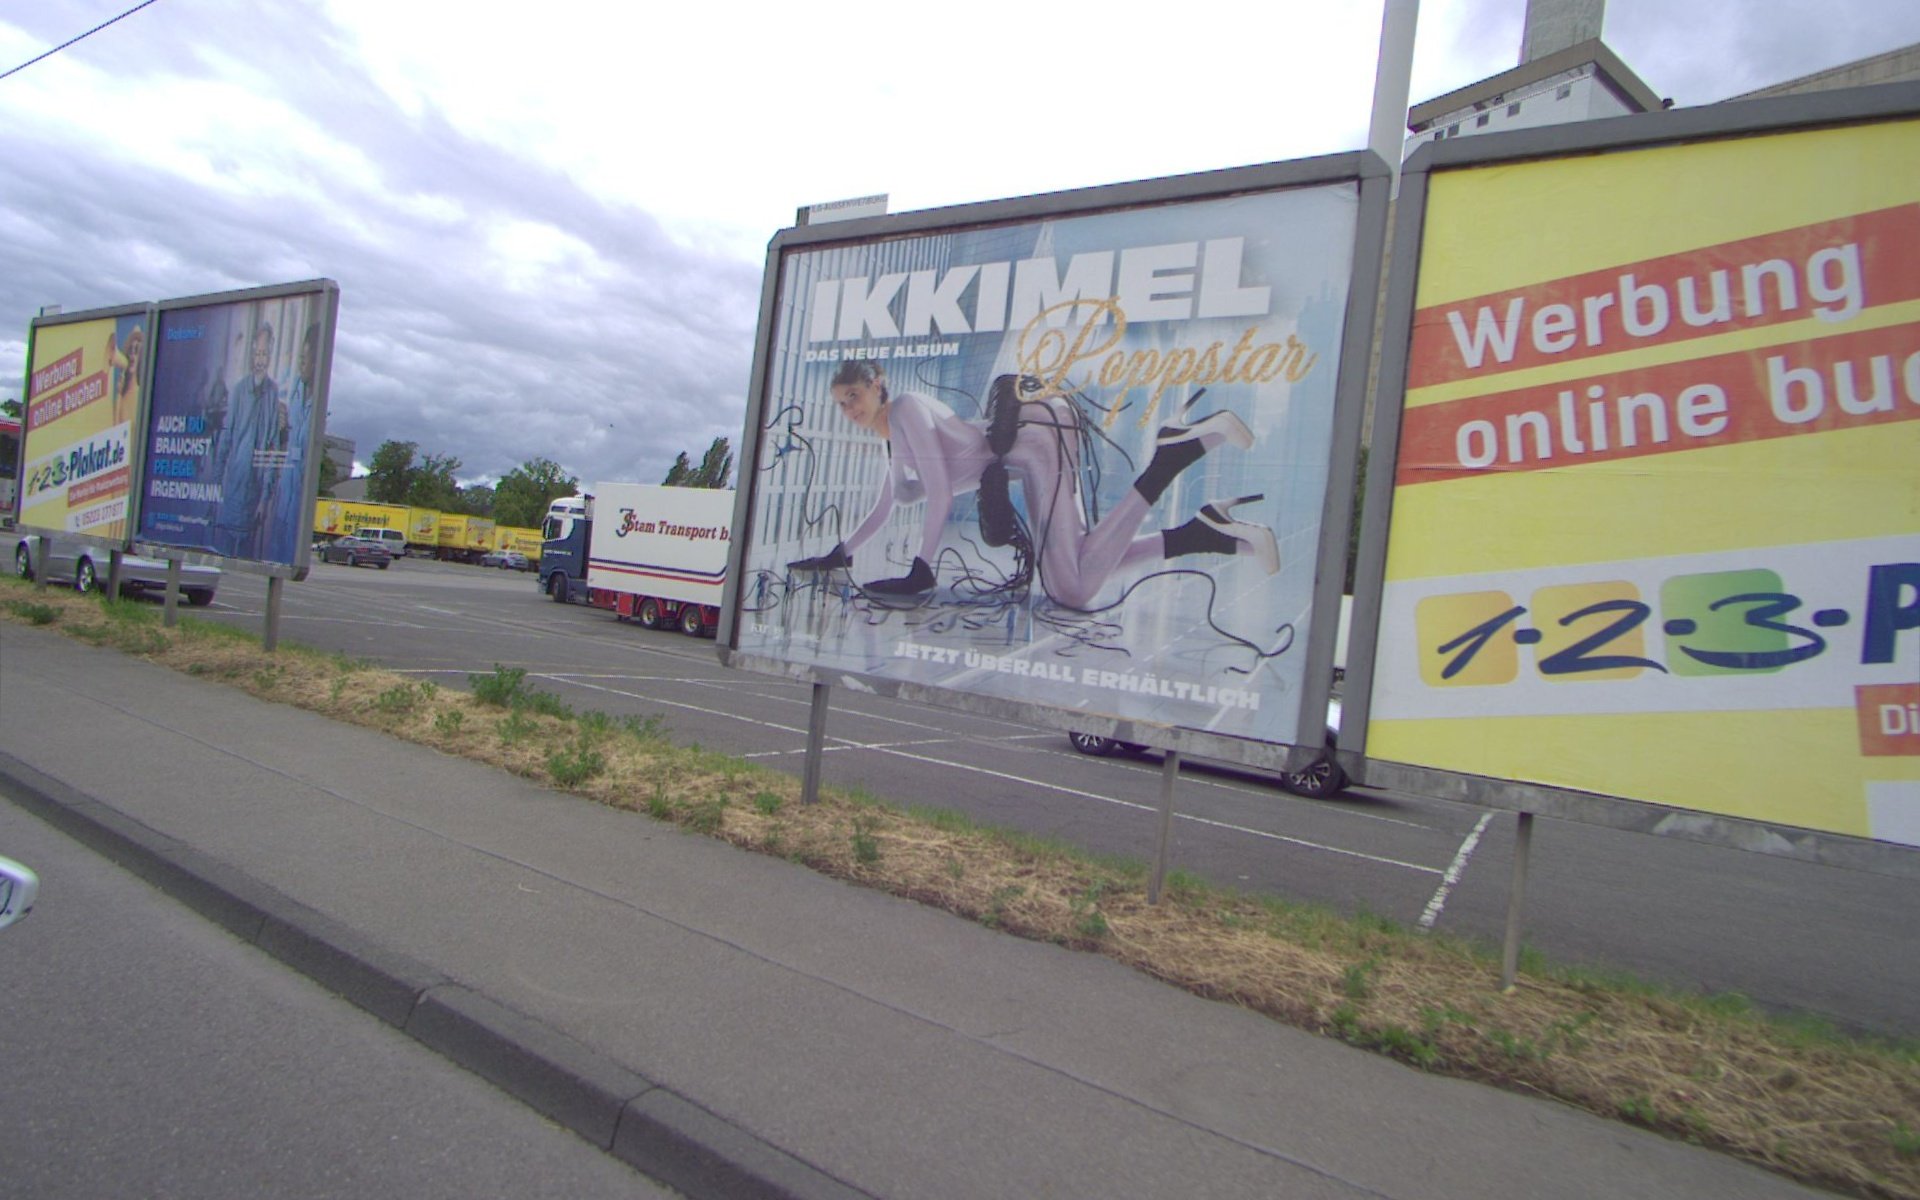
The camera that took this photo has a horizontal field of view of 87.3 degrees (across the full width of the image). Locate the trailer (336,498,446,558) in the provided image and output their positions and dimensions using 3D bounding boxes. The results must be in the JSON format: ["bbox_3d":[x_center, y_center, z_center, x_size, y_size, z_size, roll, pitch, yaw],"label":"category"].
[{"bbox_3d":[-45.981,-5.845,81.122,9.970,3.673,3.036,8,1,32],"label":"trailer"}]

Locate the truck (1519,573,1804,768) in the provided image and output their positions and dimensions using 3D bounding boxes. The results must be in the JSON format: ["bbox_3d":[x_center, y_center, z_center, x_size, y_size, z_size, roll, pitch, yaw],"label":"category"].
[{"bbox_3d":[18.585,1.796,27.033,5.139,4.268,2.788,8,1,12],"label":"truck"}]

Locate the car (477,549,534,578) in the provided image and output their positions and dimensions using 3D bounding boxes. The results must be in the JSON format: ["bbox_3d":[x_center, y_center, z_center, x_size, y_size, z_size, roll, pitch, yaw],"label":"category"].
[{"bbox_3d":[-34.672,-2.813,76.779,3.879,1.638,1.996,8,0,32],"label":"car"}]

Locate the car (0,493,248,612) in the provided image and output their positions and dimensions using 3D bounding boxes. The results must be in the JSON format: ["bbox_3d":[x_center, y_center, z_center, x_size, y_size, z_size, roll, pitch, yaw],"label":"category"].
[{"bbox_3d":[-14.244,-0.834,17.050,4.356,1.461,1.893,6,-2,32],"label":"car"}]

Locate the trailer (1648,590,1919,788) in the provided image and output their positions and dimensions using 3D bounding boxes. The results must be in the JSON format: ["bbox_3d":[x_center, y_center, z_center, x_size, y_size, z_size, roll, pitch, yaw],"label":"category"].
[{"bbox_3d":[24.129,2.550,25.839,9.944,4.243,2.769,8,1,12],"label":"trailer"}]

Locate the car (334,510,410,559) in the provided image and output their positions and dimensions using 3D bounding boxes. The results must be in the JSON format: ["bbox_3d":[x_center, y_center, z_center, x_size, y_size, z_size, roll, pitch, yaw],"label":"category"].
[{"bbox_3d":[-39.671,-4.412,67.854,5.282,2.680,2.092,7,0,33],"label":"car"}]

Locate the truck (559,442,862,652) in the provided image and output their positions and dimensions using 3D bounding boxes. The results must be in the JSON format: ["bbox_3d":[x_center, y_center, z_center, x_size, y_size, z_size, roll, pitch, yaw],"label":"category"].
[{"bbox_3d":[-7.394,-1.637,29.239,8.376,5.157,3.309,7,0,34],"label":"truck"}]

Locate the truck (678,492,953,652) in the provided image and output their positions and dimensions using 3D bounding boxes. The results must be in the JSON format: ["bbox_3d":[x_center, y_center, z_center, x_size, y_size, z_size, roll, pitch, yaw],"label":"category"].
[{"bbox_3d":[-4.814,-0.978,32.520,8.377,4.197,3.309,7,0,34],"label":"truck"}]

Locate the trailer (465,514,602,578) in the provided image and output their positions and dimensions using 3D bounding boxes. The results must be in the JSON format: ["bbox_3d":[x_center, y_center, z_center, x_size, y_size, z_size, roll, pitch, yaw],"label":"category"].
[{"bbox_3d":[-38.618,-4.939,90.727,14.672,4.202,2.873,8,1,30],"label":"trailer"}]

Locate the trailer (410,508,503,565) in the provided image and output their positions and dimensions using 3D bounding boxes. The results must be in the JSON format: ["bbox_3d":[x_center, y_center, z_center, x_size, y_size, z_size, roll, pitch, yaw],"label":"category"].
[{"bbox_3d":[-41.599,-5.269,83.099,7.364,3.740,3.017,8,1,30],"label":"trailer"}]

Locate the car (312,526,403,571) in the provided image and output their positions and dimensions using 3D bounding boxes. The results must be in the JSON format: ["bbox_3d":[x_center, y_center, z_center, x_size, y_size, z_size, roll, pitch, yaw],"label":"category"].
[{"bbox_3d":[-29.945,-2.552,49.965,4.117,1.727,1.997,6,0,30],"label":"car"}]

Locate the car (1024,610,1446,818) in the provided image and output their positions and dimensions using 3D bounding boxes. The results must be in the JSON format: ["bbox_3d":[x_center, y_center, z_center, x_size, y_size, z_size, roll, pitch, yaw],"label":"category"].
[{"bbox_3d":[3.190,1.212,11.866,4.353,1.632,1.893,6,-1,30],"label":"car"}]

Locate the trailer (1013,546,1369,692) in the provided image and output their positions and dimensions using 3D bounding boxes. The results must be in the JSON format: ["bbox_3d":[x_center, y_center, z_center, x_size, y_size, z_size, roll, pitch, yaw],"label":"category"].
[{"bbox_3d":[9.752,0.710,43.623,14.145,4.260,3.110,8,1,18],"label":"trailer"}]

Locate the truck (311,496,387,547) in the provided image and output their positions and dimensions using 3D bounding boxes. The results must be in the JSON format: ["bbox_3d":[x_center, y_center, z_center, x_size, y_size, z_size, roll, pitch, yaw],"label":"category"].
[{"bbox_3d":[-51.204,-6.564,84.337,5.413,3.506,3.036,8,1,32],"label":"truck"}]
